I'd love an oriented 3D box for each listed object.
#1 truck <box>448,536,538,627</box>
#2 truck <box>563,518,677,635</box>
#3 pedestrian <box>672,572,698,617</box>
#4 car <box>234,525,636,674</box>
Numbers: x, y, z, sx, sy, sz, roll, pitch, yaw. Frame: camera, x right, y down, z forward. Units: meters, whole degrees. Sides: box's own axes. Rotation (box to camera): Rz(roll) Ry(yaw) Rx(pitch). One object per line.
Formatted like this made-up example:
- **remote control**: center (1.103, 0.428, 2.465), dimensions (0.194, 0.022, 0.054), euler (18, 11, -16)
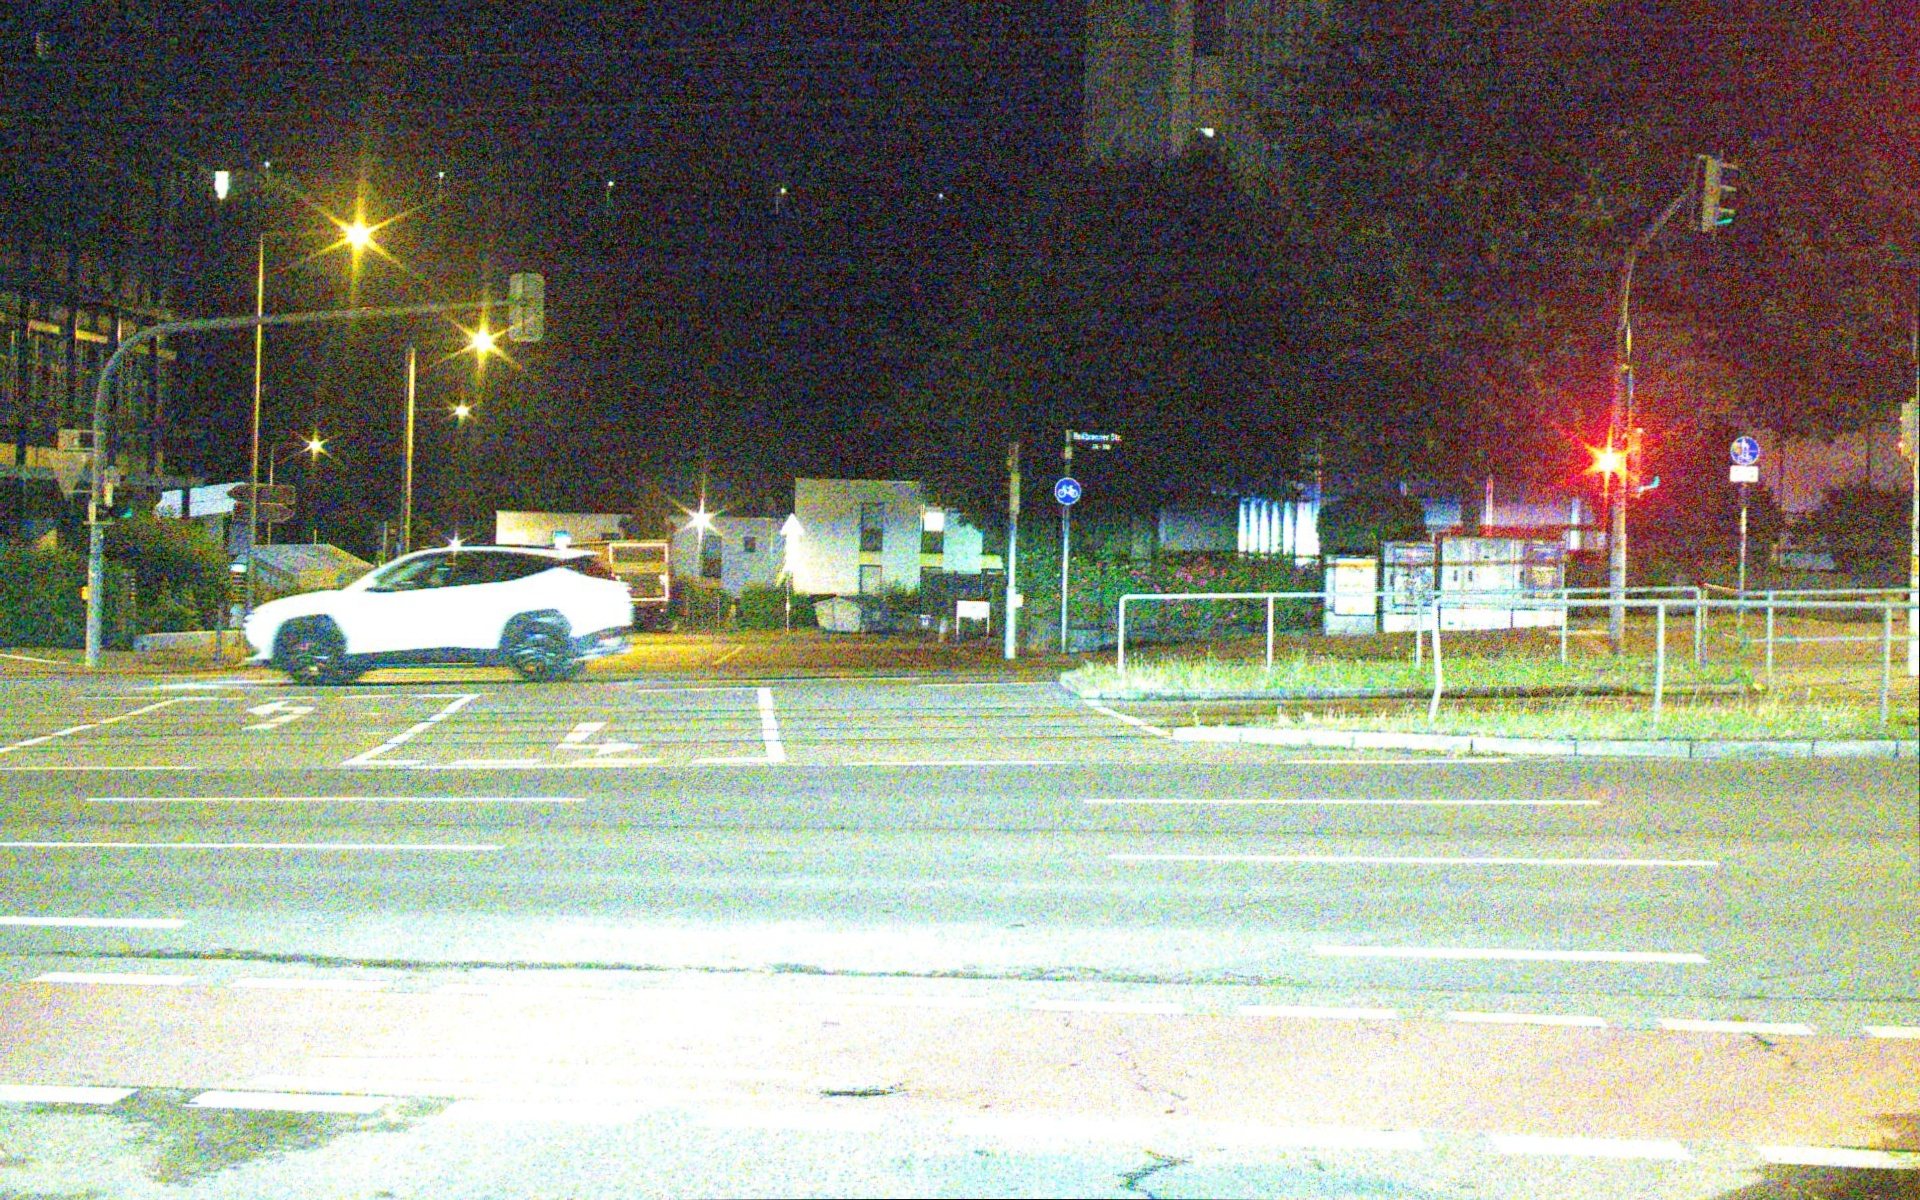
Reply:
- **truck**: center (-16.585, -0.647, 121.844), dimensions (2.417, 3.078, 6.439), euler (1, 0, -14)
- **truck**: center (-14.775, -1.001, 148.850), dimensions (3.359, 4.826, 7.908), euler (1, 0, -17)
- **pedestrian**: center (-11.792, -0.225, 147.472), dimensions (0.849, 1.905, 1.007), euler (1, 0, -18)
- **car**: center (-6.194, -0.003, 40.915), dimensions (4.398, 1.638, 1.941), euler (1, 0, 3)
